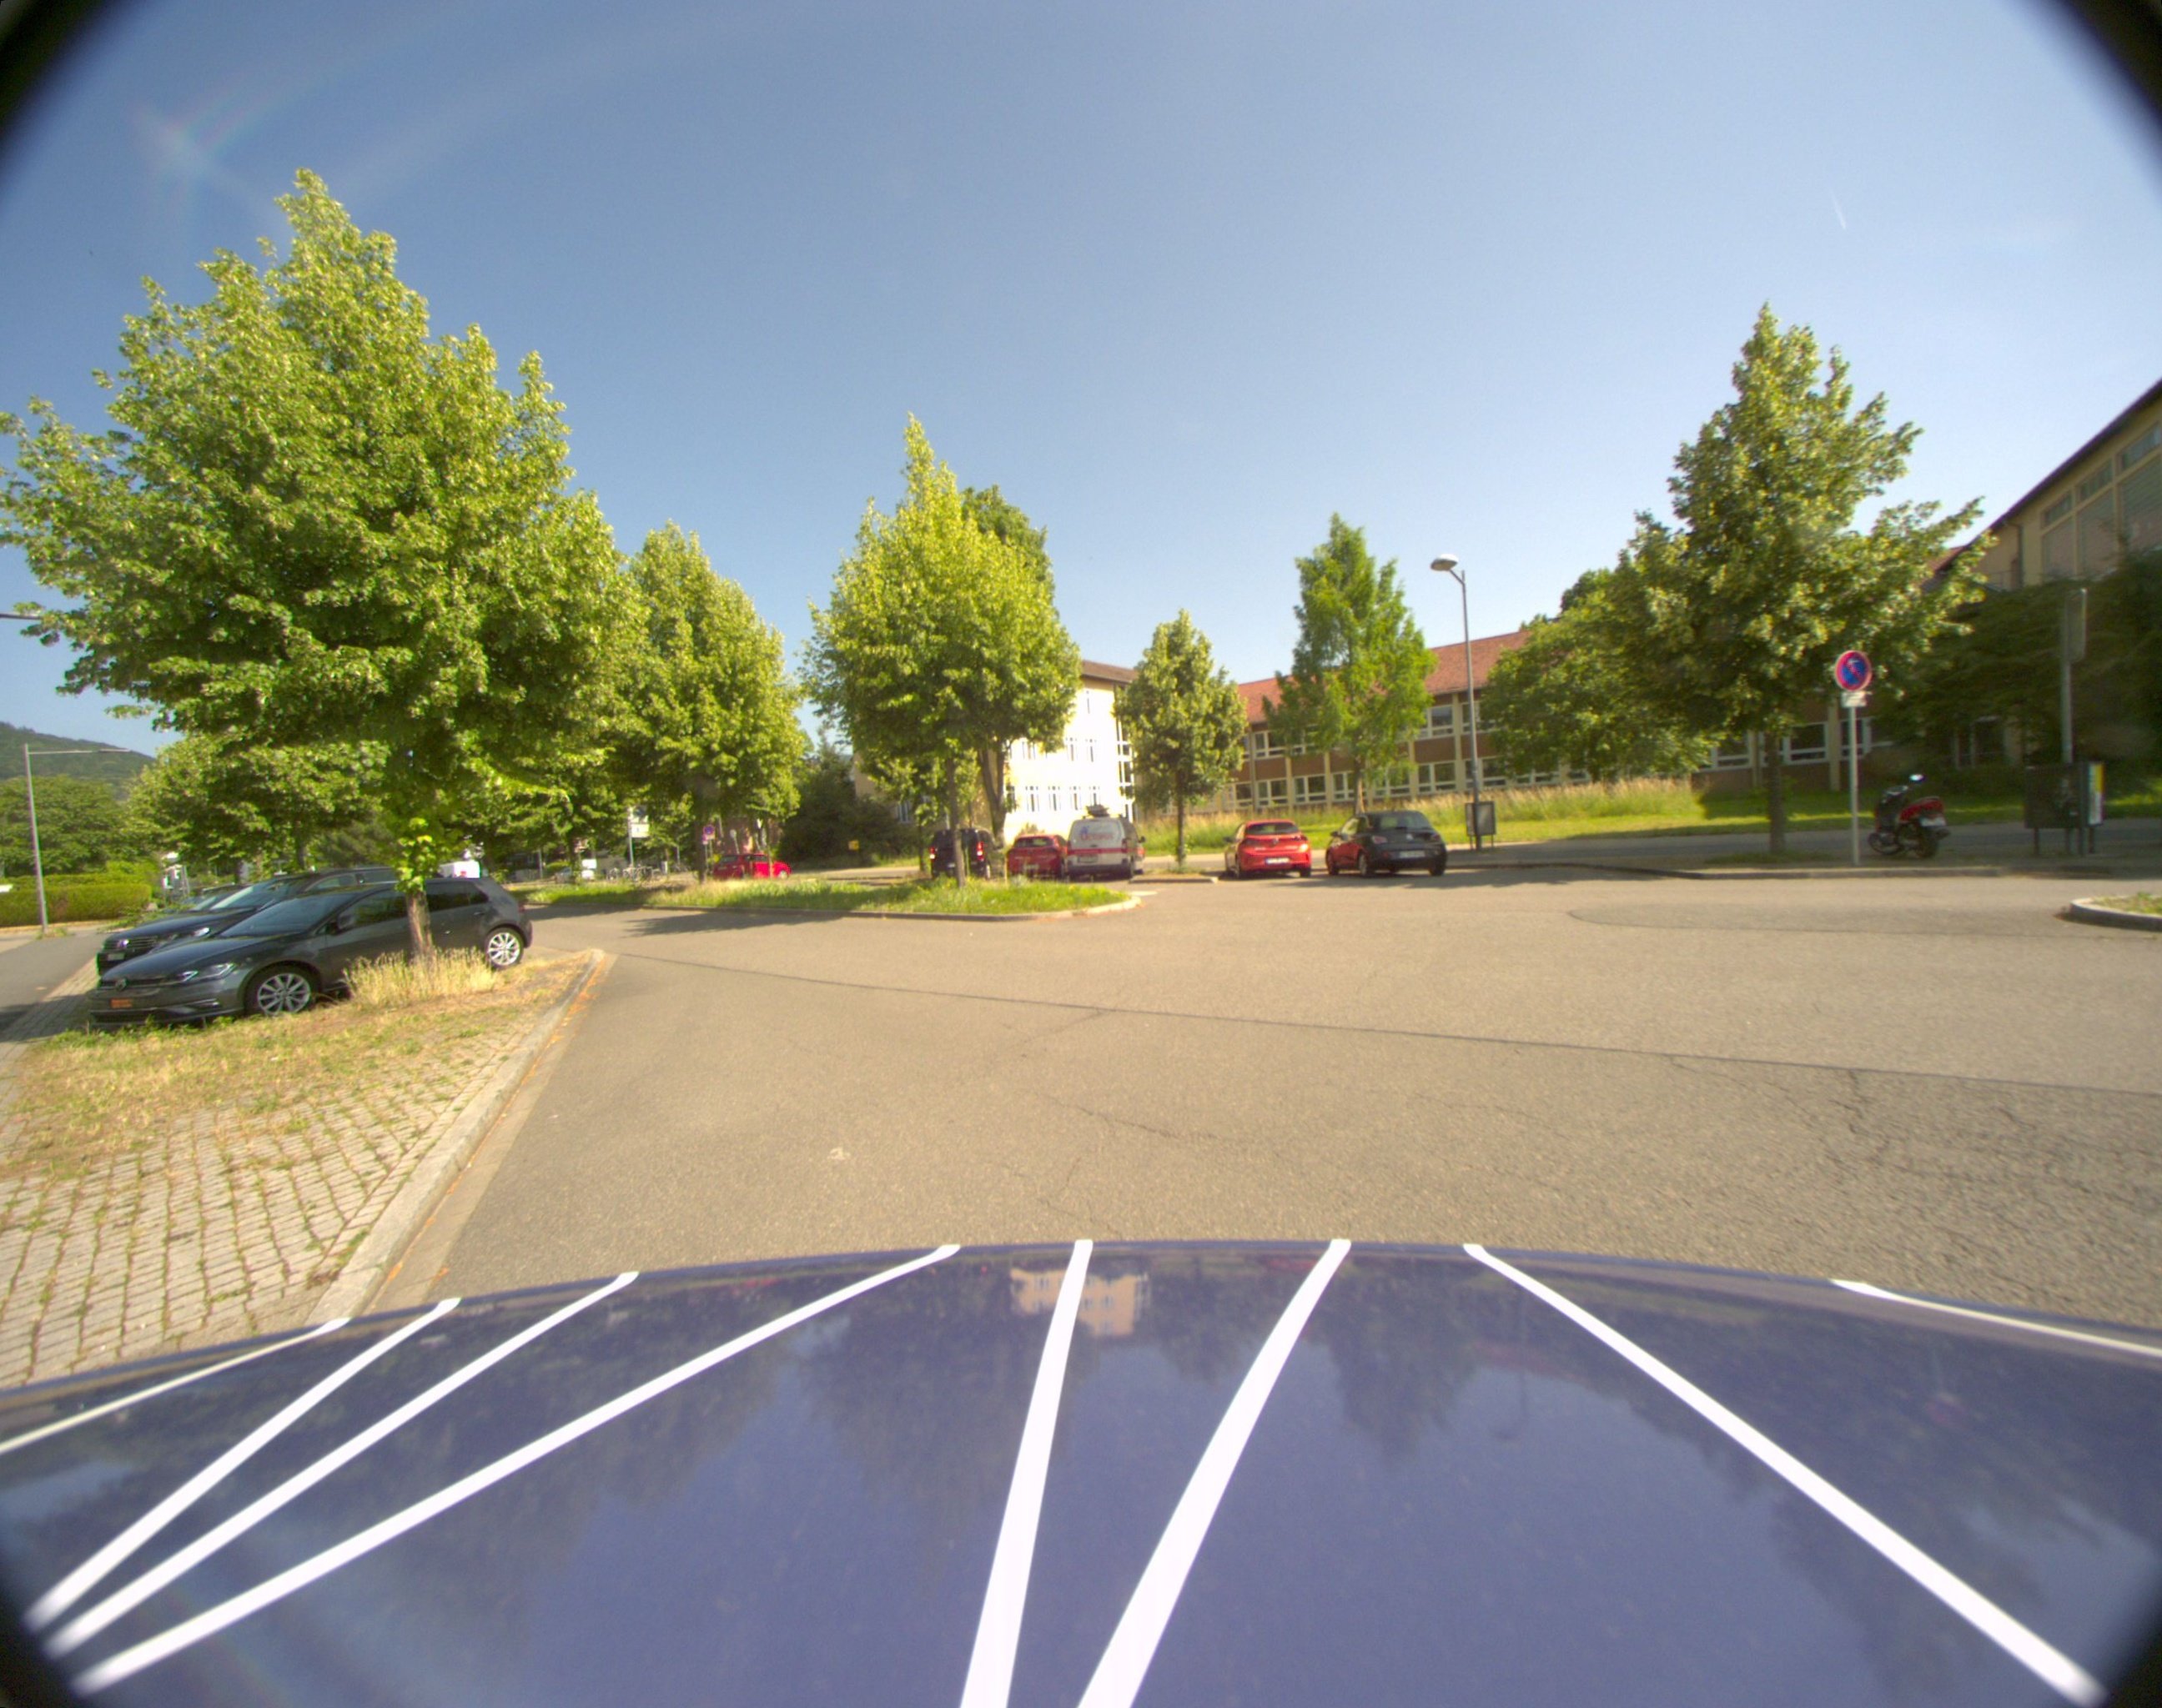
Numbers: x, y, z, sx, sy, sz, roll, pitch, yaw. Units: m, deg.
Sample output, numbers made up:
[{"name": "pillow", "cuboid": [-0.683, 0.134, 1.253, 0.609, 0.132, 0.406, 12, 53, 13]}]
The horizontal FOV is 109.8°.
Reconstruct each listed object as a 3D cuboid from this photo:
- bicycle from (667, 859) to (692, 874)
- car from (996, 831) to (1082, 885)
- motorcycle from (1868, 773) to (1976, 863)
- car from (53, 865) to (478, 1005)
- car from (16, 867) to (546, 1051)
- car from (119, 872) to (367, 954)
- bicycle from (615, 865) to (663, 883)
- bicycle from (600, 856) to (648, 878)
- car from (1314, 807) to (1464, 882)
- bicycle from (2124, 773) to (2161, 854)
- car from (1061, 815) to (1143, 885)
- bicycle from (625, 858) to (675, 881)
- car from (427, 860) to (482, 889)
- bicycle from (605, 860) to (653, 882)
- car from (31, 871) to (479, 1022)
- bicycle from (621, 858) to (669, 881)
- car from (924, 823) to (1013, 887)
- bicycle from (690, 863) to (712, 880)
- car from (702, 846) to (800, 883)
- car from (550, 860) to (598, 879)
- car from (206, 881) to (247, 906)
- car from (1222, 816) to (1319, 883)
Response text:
[{"name": "bicycle", "cuboid": [-32.458, 1.032, 61.427, 1.716, 1.075, 0.377, -5, 2, -9]}, {"name": "car", "cuboid": [-1.240, 0.059, 24.120, 1.853, 1.419, 3.776, -4, 1, 10]}, {"name": "motorcycle", "cuboid": [13.122, -0.584, 11.916, 0.691, 1.277, 1.854, -3, 3, 34]}, {"name": "car", "cuboid": [-13.680, 1.221, 13.318, 1.750, 1.651, 4.747, -4, 2, 10]}, {"name": "car", "cuboid": [-9.667, 1.147, 9.780, 1.997, 1.522, 4.119, -4, 3, 14]}, {"name": "car", "cuboid": [-22.461, 1.516, 20.594, 1.796, 1.631, 4.004, -3, 3, 22]}, {"name": "bicycle", "cuboid": [-28.803, 1.305, 49.516, 0.737, 0.982, 2.557, -3, 1, 38]}, {"name": "bicycle", "cuboid": [-30.628, 0.851, 50.996, 0.737, 1.249, 2.557, -3, 1, 38]}, {"name": "car", "cuboid": [6.814, -0.235, 17.270, 1.854, 1.415, 3.773, -3, 2, 0]}, {"name": "bicycle", "cuboid": [15.628, -0.598, 10.717, 0.691, 1.086, 1.854, -2, 3, 42]}, {"name": "car", "cuboid": [0.715, -0.183, 22.310, 1.816, 1.762, 3.775, -4, 3, 10]}, {"name": "bicycle", "cuboid": [-27.243, 0.960, 48.023, 0.737, 1.249, 2.557, -2, 3, 38]}, {"name": "car", "cuboid": [-60.225, 2.002, 73.016, 5.937, 2.482, 2.099, -3, 1, 32]}, {"name": "bicycle", "cuboid": [-29.904, 1.102, 50.328, 0.737, 1.232, 2.557, -3, 1, 38]}, {"name": "car", "cuboid": [-11.612, 1.186, 11.180, 1.766, 1.465, 4.001, -4, 3, 11]}, {"name": "bicycle", "cuboid": [-27.935, 0.977, 48.722, 0.737, 1.249, 2.527, -3, 1, 38]}, {"name": "car", "cuboid": [-3.621, -0.016, 25.354, 2.002, 1.806, 4.188, -4, 1, 3]}, {"name": "bicycle", "cuboid": [-21.847, 1.003, 43.693, 1.267, 0.898, 0.523, -2, 2, 36]}, {"name": "car", "cuboid": [-15.832, 0.472, 36.688, 1.996, 1.458, 4.004, -4, 1, 20]}, {"name": "car", "cuboid": [-41.279, 1.292, 61.834, 3.990, 1.259, 1.728, -3, 1, 33]}, {"name": "car", "cuboid": [-71.958, 3.318, 63.990, 4.585, 1.817, 1.770, -2, 5, 37]}, {"name": "car", "cuboid": [4.642, -0.184, 19.139, 1.714, 1.415, 3.842, -4, 2, 5]}]
